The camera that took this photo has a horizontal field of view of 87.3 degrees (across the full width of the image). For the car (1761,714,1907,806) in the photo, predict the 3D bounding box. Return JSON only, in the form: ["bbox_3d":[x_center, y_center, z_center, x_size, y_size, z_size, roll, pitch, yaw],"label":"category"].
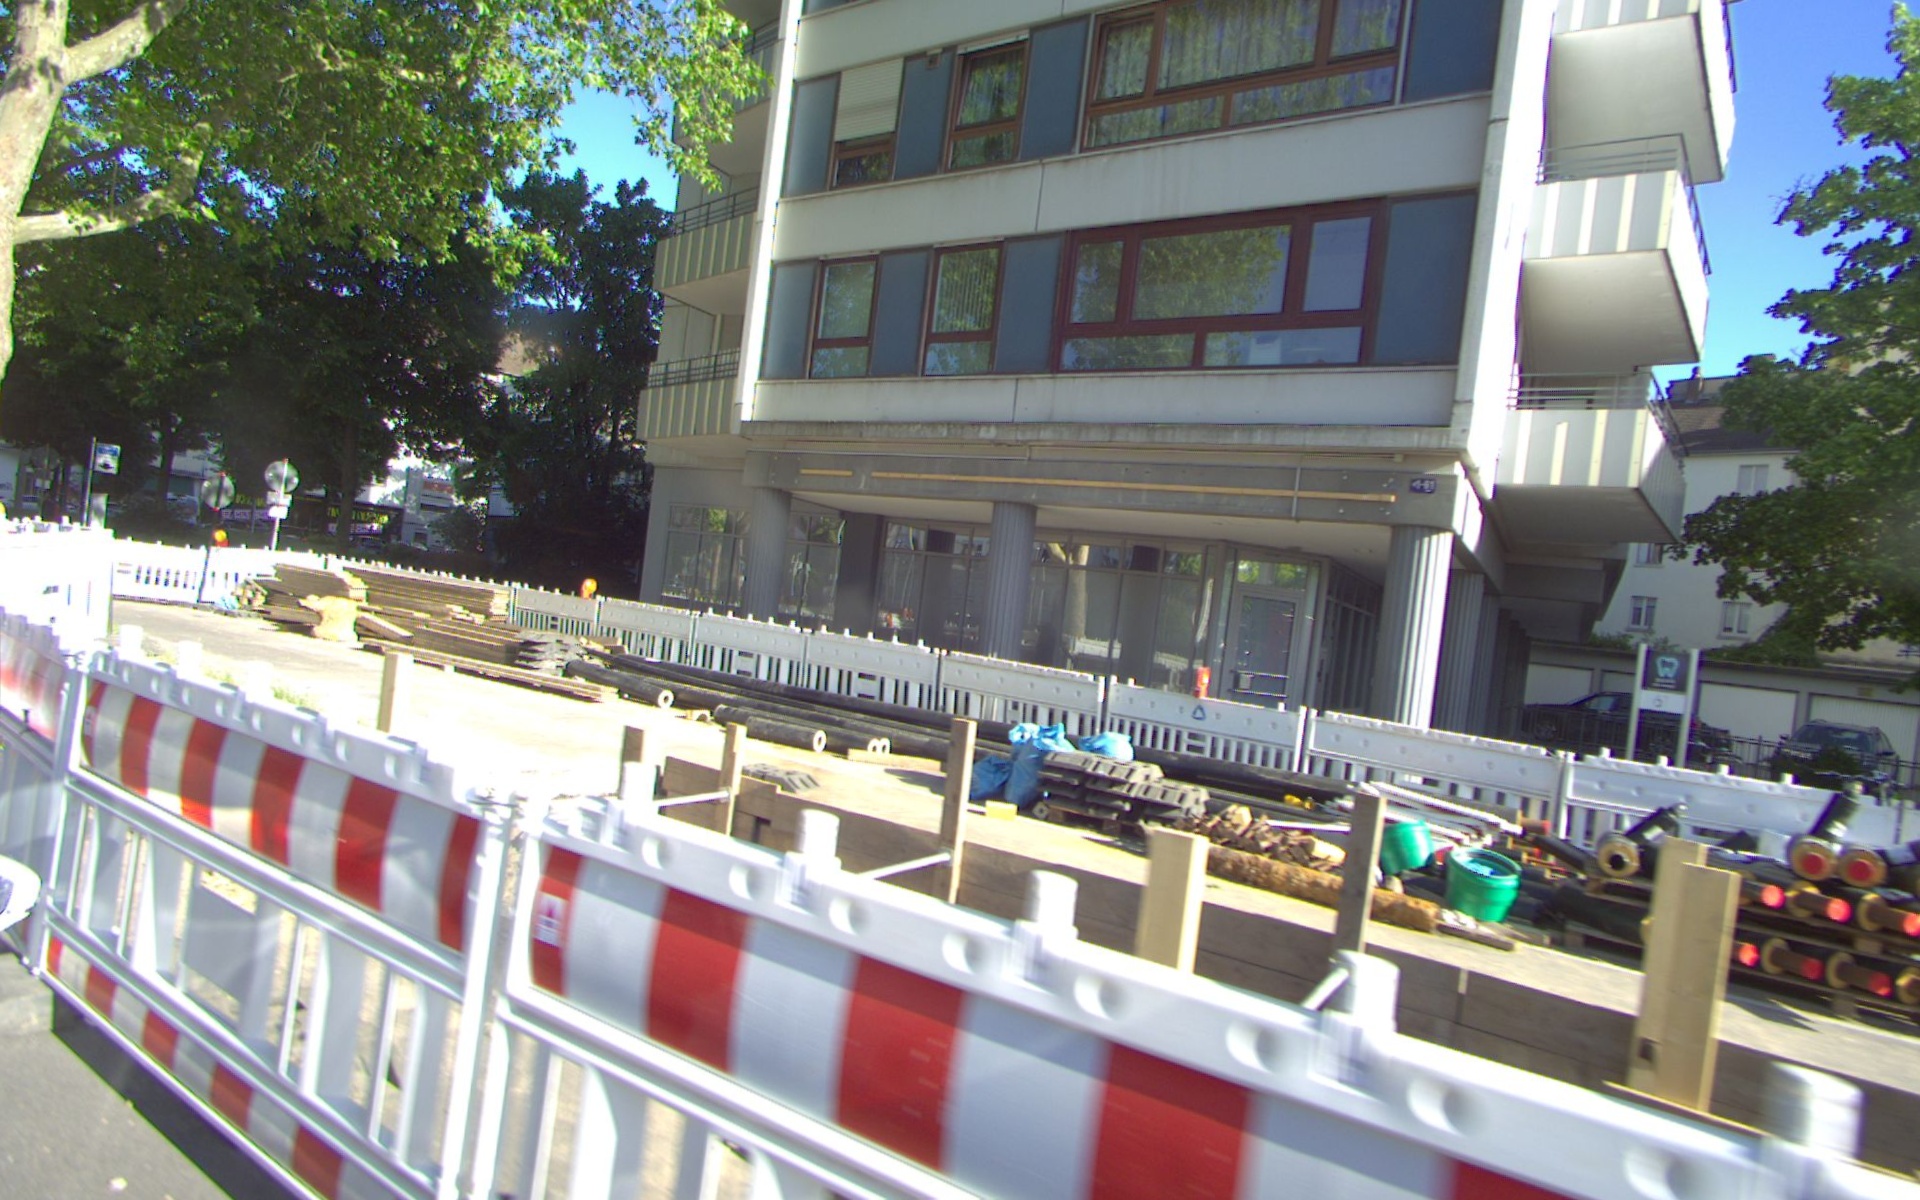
[{"bbox_3d":[19.230,3.478,22.069,4.467,1.541,1.818,8,-1,-42],"label":"car"}]

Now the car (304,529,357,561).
[{"bbox_3d":[-40.301,-3.514,64.393,1.987,1.647,4.336,7,-1,-43],"label":"car"}]

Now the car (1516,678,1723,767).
[{"bbox_3d":[17.824,3.269,27.504,4.420,1.656,2.152,7,-1,30],"label":"car"}]

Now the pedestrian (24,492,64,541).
[{"bbox_3d":[-33.421,-3.037,36.698,1.018,1.636,0.733,7,0,32],"label":"pedestrian"}]

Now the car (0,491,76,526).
[{"bbox_3d":[-57.654,-5.730,62.066,4.572,1.600,1.976,8,-1,-43],"label":"car"}]

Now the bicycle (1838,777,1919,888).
[{"bbox_3d":[9.987,2.408,10.381,2.019,0.954,1.006,8,-1,-39],"label":"bicycle"}]

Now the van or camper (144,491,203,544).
[{"bbox_3d":[-45.900,-4.821,58.680,2.139,2.668,5.521,7,0,-42],"label":"van or camper"}]

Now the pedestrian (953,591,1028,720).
[{"bbox_3d":[0.462,0.834,15.143,0.654,1.837,0.691,7,0,32],"label":"pedestrian"}]

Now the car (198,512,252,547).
[{"bbox_3d":[-44.022,-4.233,60.230,1.987,1.689,4.687,7,-1,-43],"label":"car"}]

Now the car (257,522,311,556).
[{"bbox_3d":[-42.132,-3.816,62.629,1.987,1.689,4.687,7,-1,-43],"label":"car"}]

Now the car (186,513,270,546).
[{"bbox_3d":[-50.092,-4.840,68.897,4.367,1.555,1.976,8,-1,-42],"label":"car"}]

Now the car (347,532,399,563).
[{"bbox_3d":[-38.561,-3.467,66.038,1.987,1.647,4.336,7,-1,-43],"label":"car"}]

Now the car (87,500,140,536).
[{"bbox_3d":[-47.843,-4.648,56.850,1.987,1.647,4.336,7,-1,-43],"label":"car"}]

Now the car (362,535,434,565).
[{"bbox_3d":[-42.566,-3.790,76.266,4.367,1.555,1.976,8,-1,-42],"label":"car"}]
